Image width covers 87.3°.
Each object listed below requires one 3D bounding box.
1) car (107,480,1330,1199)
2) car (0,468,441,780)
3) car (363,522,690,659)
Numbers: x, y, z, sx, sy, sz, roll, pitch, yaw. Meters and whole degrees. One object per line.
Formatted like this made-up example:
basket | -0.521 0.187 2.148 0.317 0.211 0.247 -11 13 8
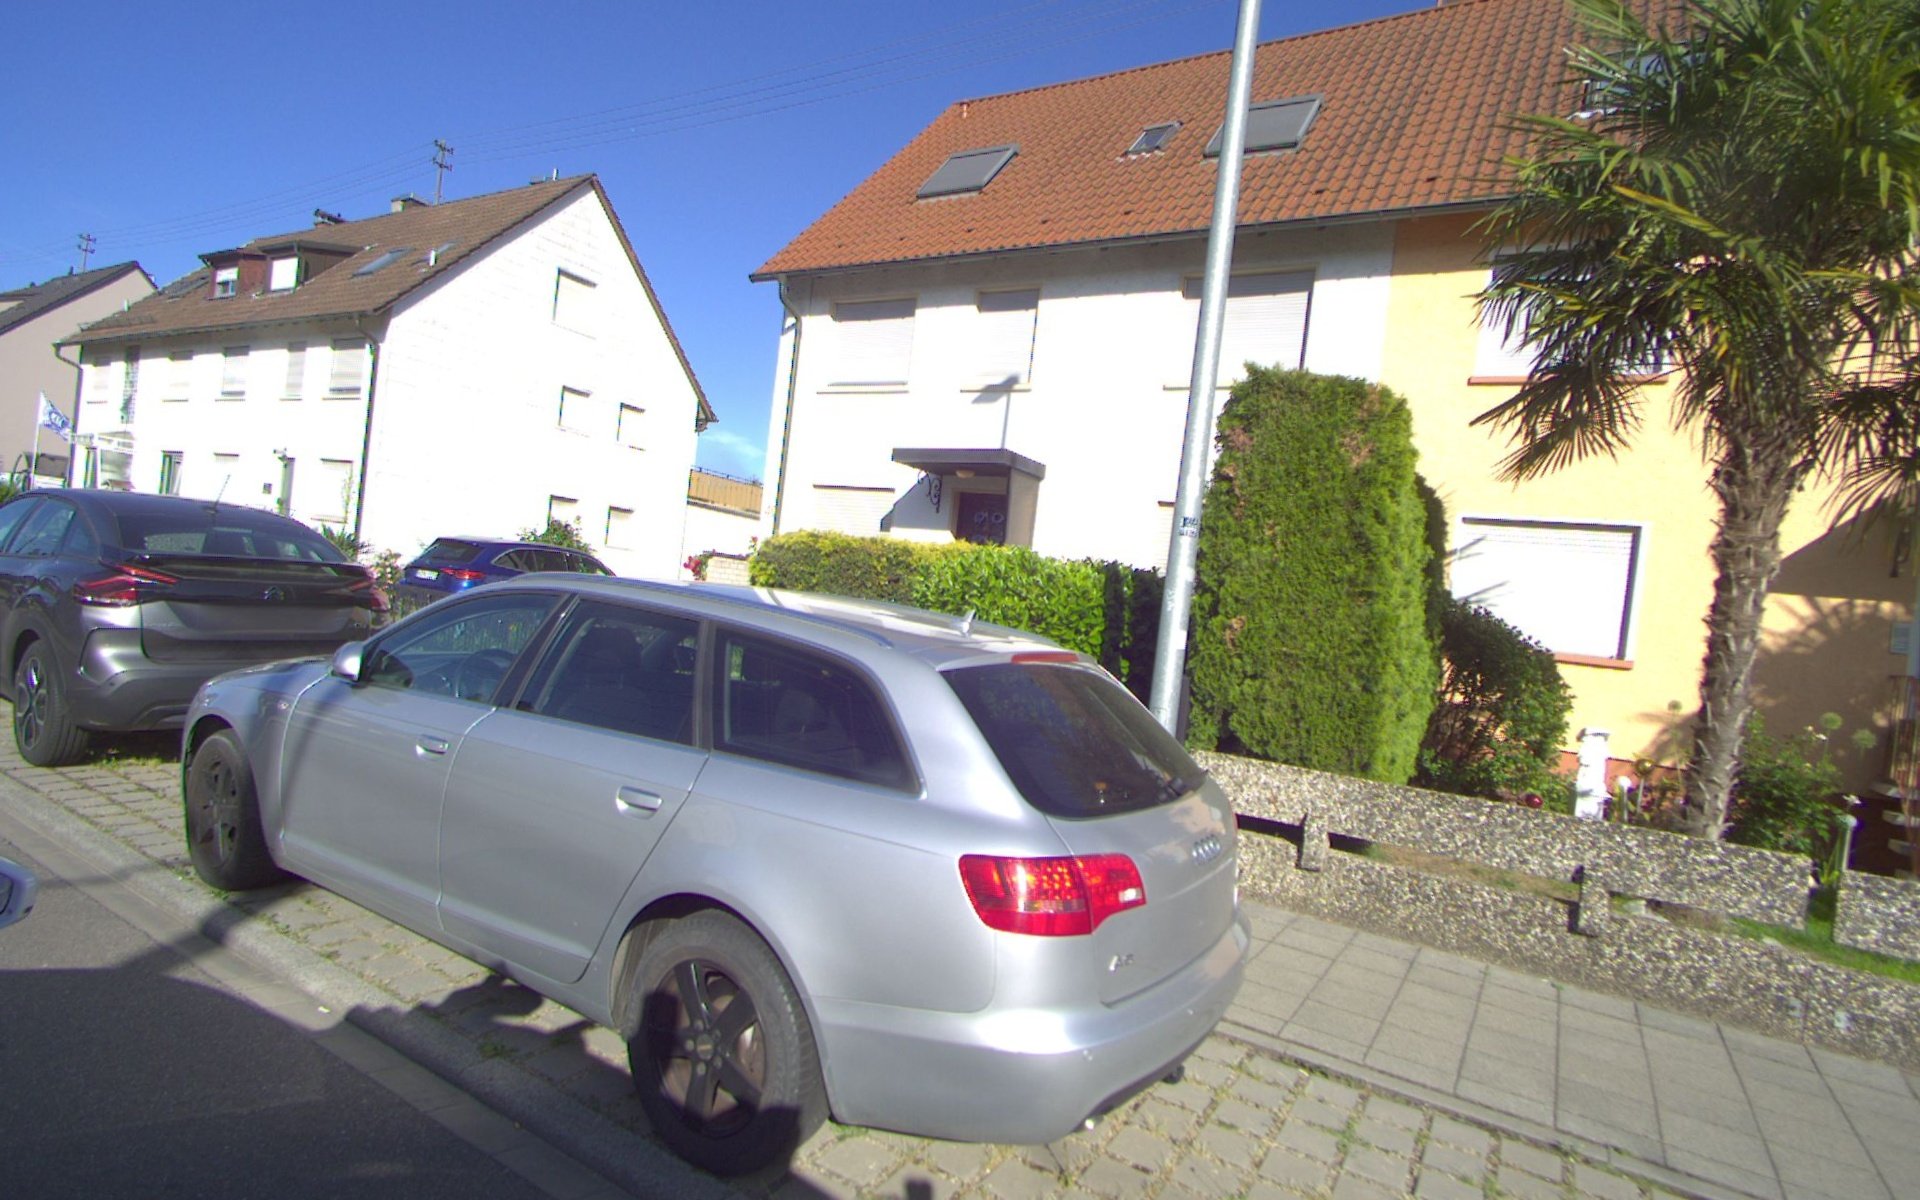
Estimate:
car | -1.225 0.529 3.901 4.620 1.465 1.750 8 1 31
car | -5.832 -0.021 7.005 4.651 1.517 1.779 7 0 33
car | -6.887 -0.060 16.512 2.159 1.674 4.424 6 -1 29
